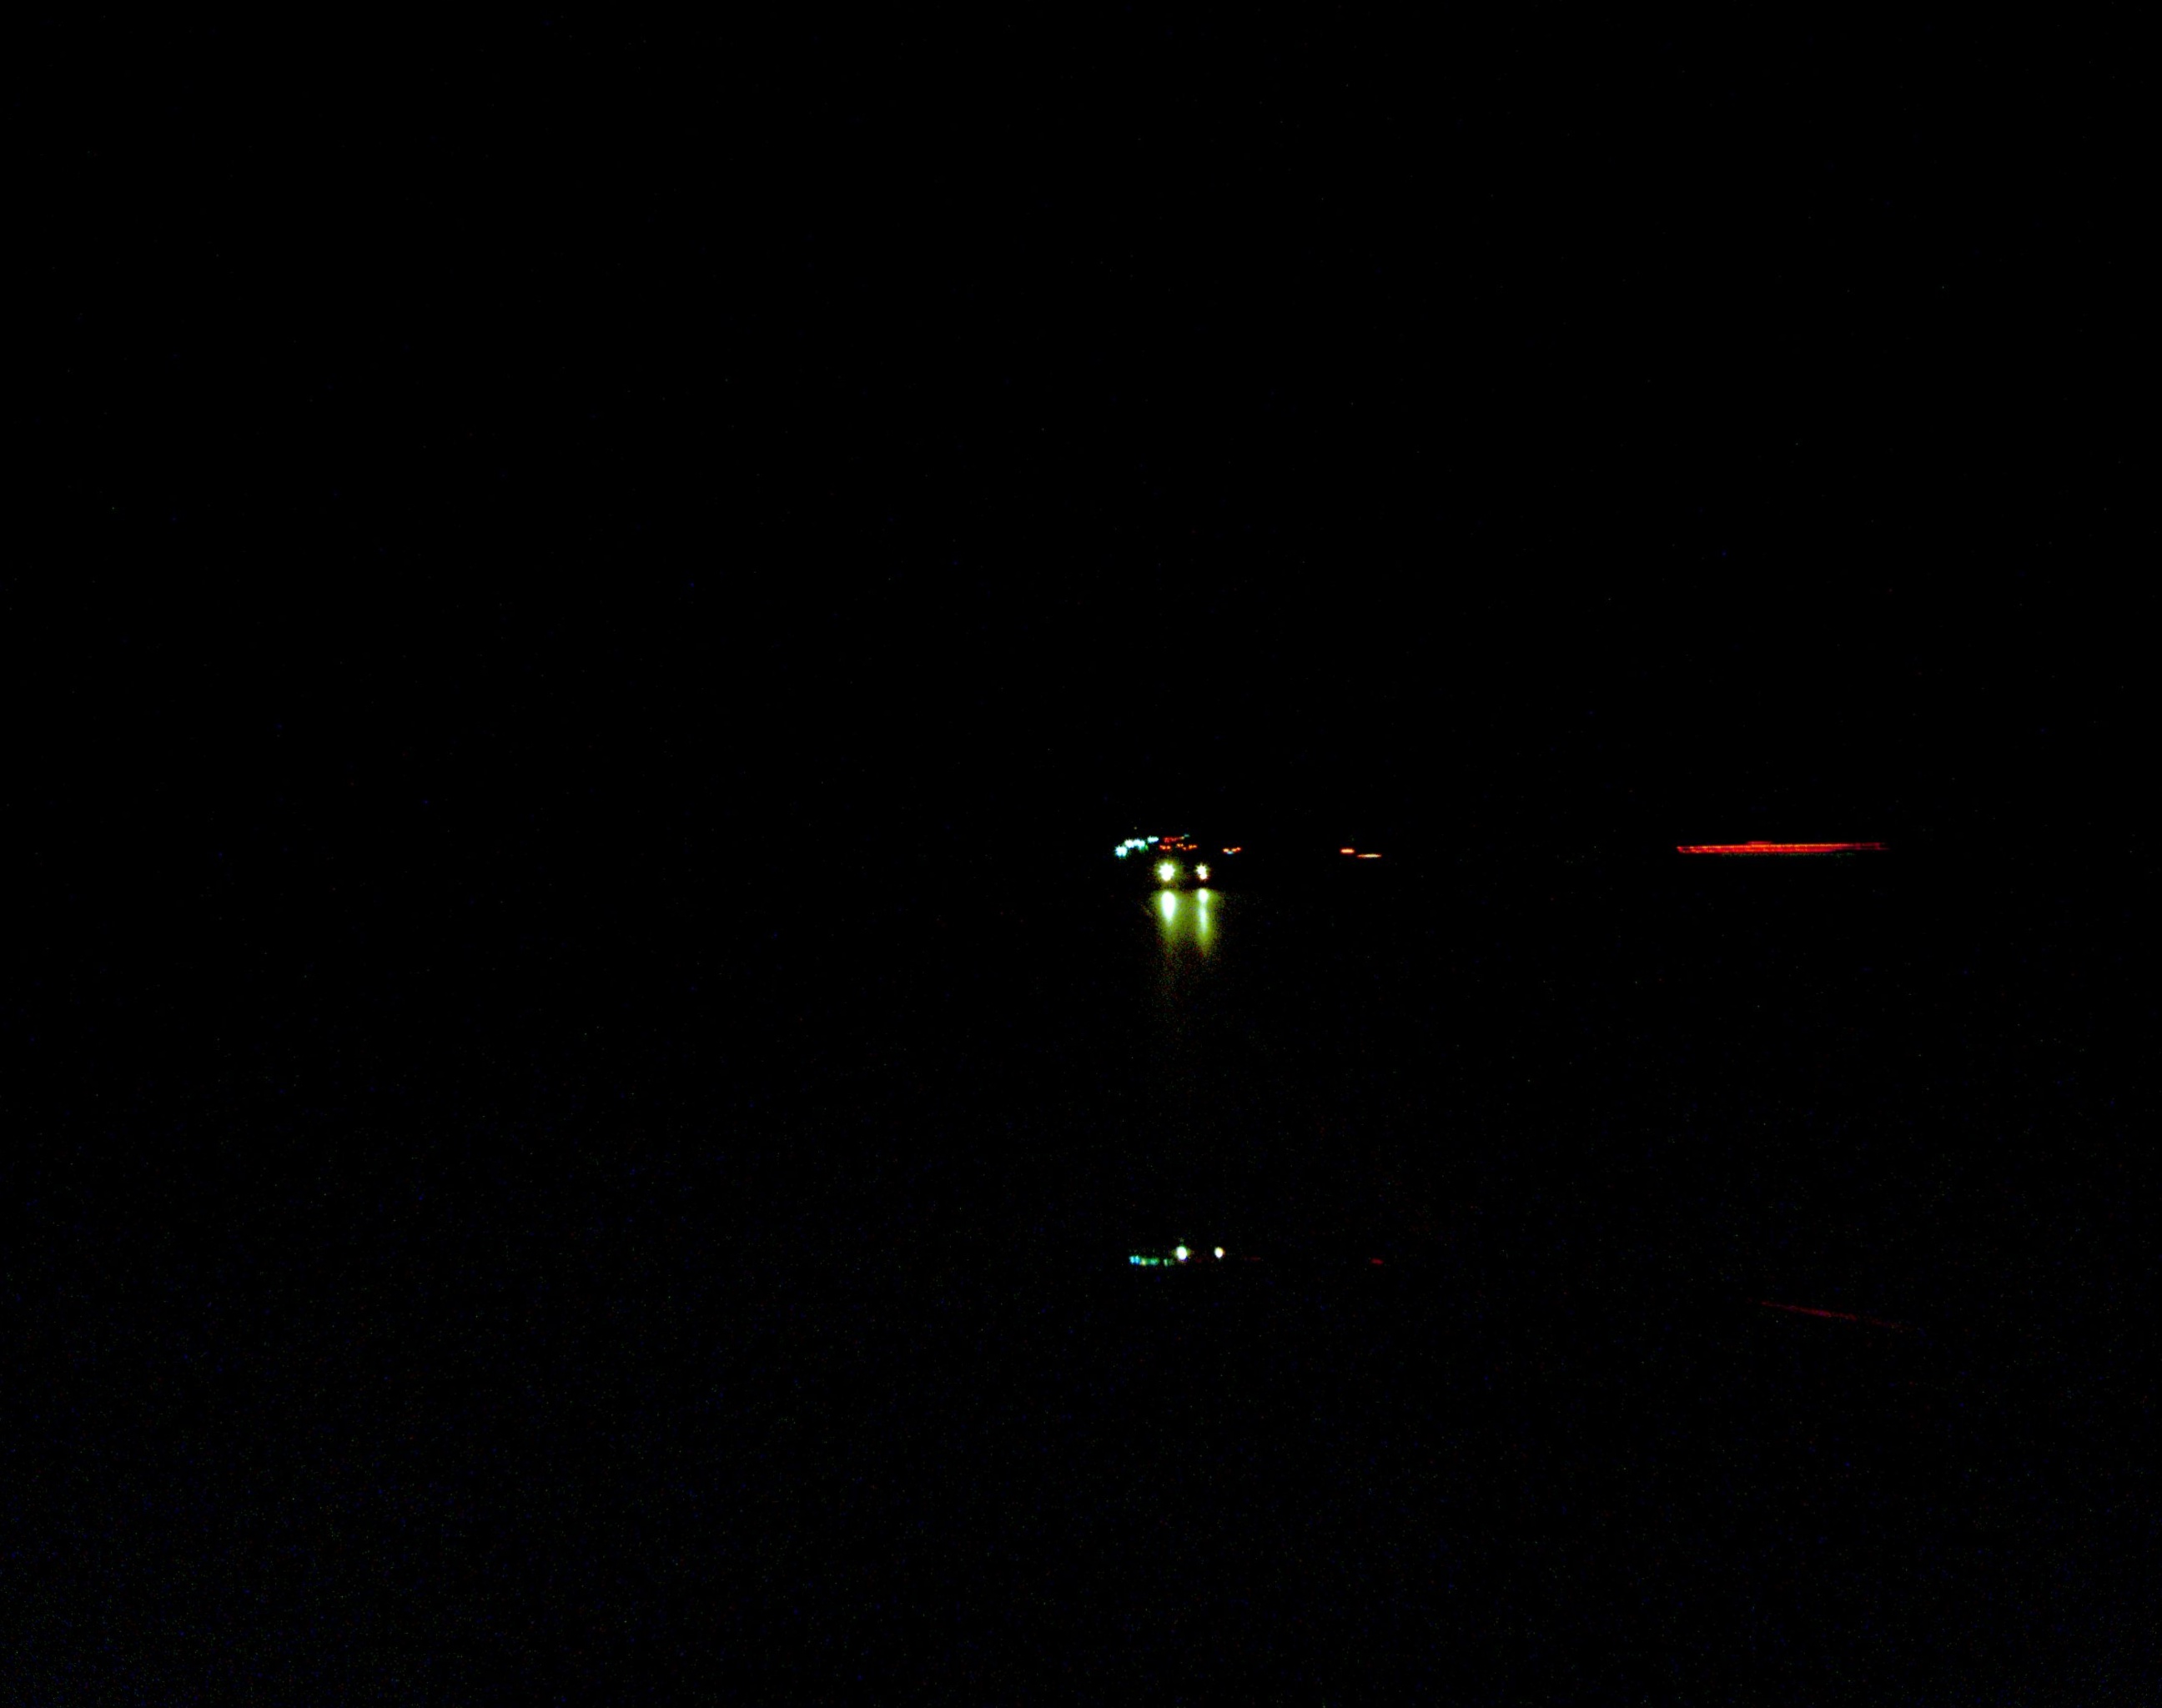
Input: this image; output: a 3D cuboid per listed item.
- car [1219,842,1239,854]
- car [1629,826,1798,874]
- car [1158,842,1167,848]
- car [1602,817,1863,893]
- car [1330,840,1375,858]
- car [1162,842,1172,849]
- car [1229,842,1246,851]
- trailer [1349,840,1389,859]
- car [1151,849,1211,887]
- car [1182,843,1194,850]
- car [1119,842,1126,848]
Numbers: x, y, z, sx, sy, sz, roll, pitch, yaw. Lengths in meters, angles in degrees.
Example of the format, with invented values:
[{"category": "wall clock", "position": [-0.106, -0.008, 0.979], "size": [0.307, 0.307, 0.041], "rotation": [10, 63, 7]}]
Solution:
[{"category": "car", "position": [22.308, -0.906, 114.657], "size": [2.124, 1.547, 5.108], "rotation": [-3, 1, 1]}, {"category": "car", "position": [23.460, -0.180, 28.528], "size": [2.124, 1.547, 5.108], "rotation": [-3, 1, 1]}, {"category": "car", "position": [25.247, -2.790, 235.887], "size": [2.124, 1.711, 5.626], "rotation": [-3, 1, 1]}, {"category": "car", "position": [15.757, -0.010, 18.886], "size": [2.124, 1.547, 5.108], "rotation": [-3, 1, 1]}, {"category": "car", "position": [24.354, -0.450, 68.286], "size": [2.189, 1.472, 5.242], "rotation": [-3, 1, 1]}, {"category": "car", "position": [23.365, -2.326, 206.412], "size": [2.124, 1.711, 5.626], "rotation": [-3, 1, 1]}, {"category": "car", "position": [28.037, -1.359, 136.465], "size": [2.123, 1.547, 5.109], "rotation": [-3, 1, 3]}, {"category": "trailer", "position": [24.246, -0.410, 64.116], "size": [2.189, 1.472, 3.129], "rotation": [-3, 1, 1]}, {"category": "car", "position": [4.414, 0.570, 34.331], "size": [1.998, 1.509, 5.650], "rotation": [-3, 0, 1]}, {"category": "car", "position": [25.484, -1.787, 181.380], "size": [2.124, 1.687, 5.108], "rotation": [-3, 1, 1]}, {"category": "car", "position": [12.181, -2.606, 221.078], "size": [1.998, 1.653, 4.000], "rotation": [-2, 1, 3]}]
